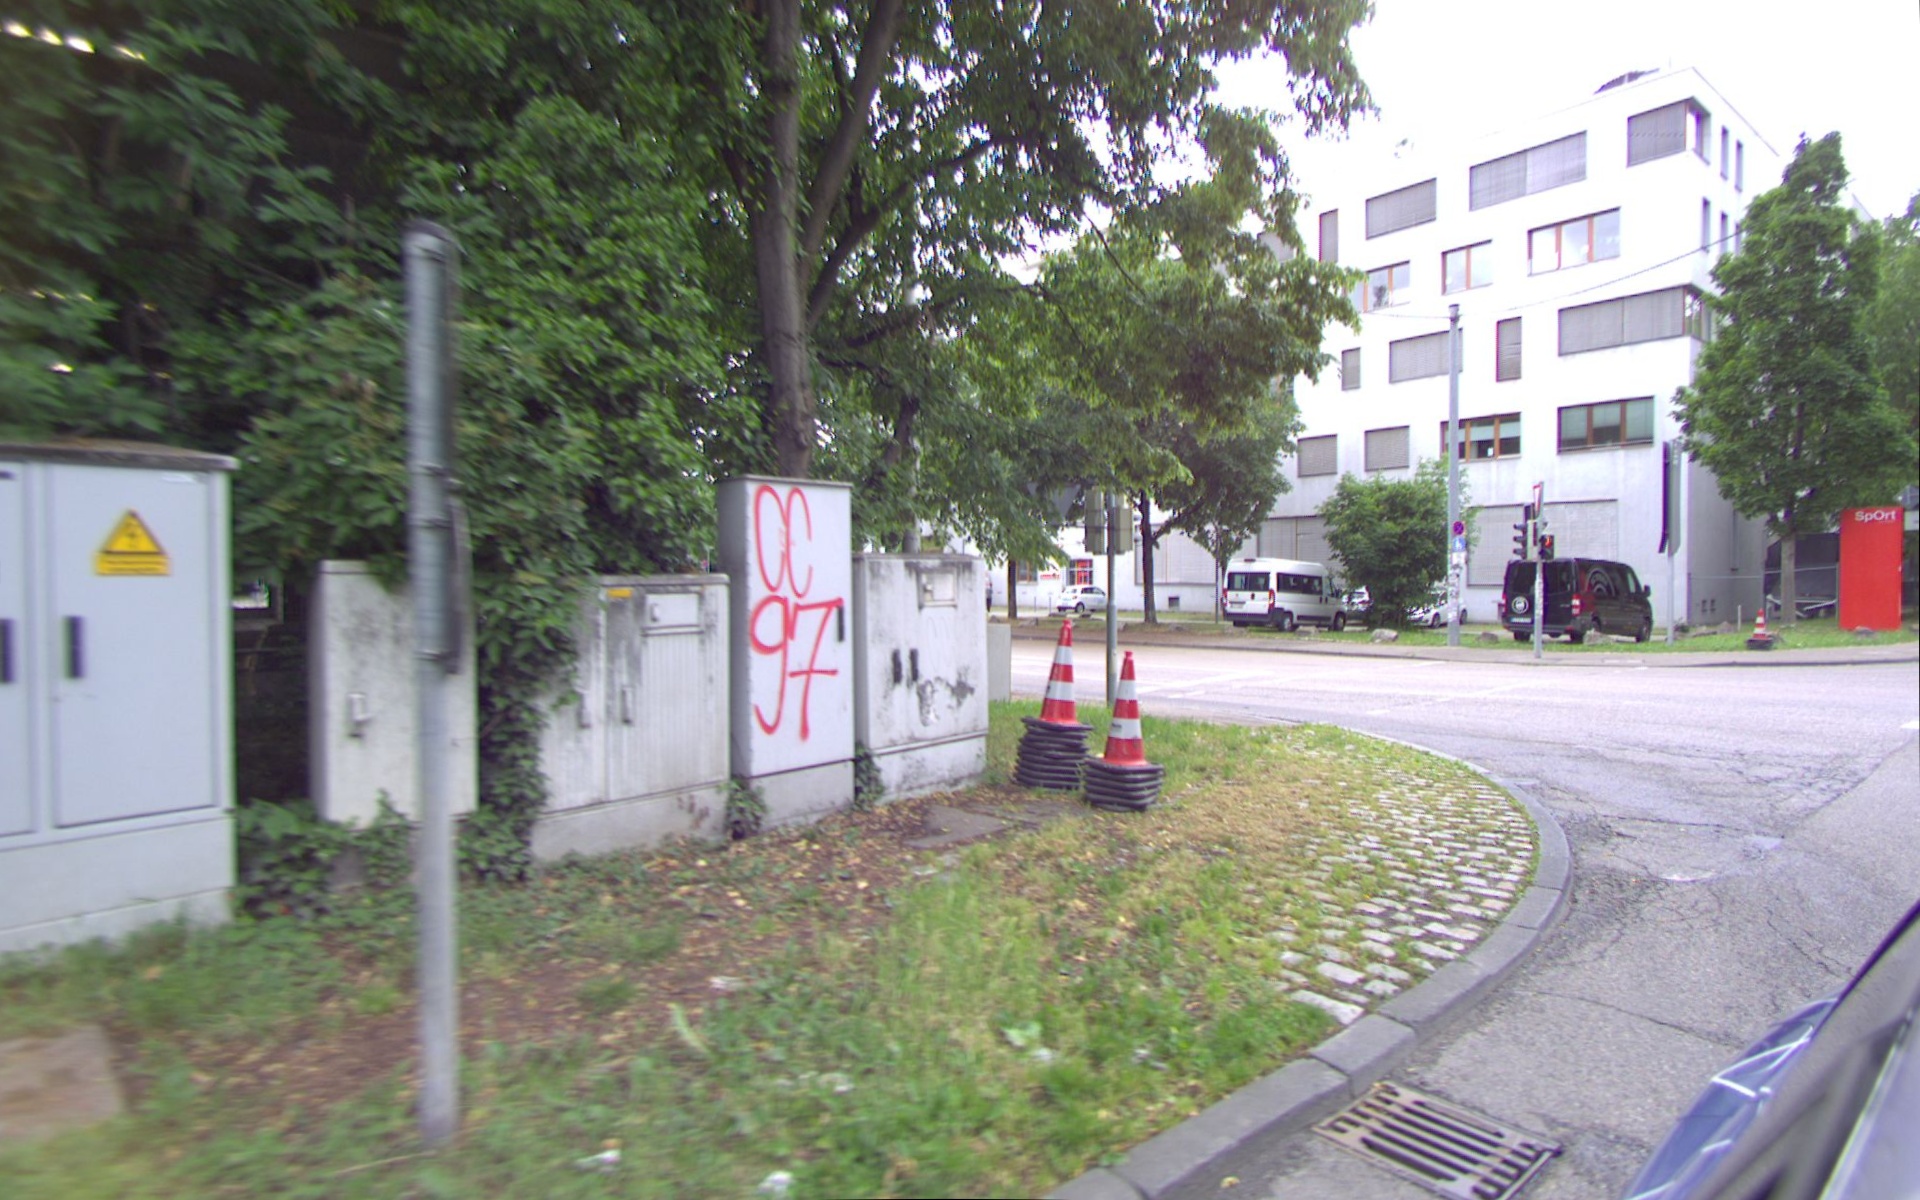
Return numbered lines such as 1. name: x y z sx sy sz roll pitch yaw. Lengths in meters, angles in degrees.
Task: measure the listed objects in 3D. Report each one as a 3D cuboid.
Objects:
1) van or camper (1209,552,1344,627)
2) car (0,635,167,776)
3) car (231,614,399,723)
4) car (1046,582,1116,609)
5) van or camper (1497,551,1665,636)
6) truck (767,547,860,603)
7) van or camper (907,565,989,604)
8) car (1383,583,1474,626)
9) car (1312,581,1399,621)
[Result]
1. van or camper: 11.182 -0.344 35.594 5.094 2.454 2.154 0 0 -40
2. car: -9.832 1.056 11.122 1.592 1.177 3.640 -1 0 -36
3. car: -8.124 0.765 12.637 1.510 1.101 3.252 -1 0 -37
4. car: 6.960 -0.292 58.028 3.939 1.436 1.713 -2 1 -38
5. van or camper: 17.238 -0.107 27.968 5.540 2.137 2.168 1 -1 -38
6. truck: -10.287 -1.650 70.305 2.602 3.662 7.828 1 0 -40
7. van or camper: -0.769 -1.053 67.778 5.176 2.456 2.255 -2 1 -40
8. car: 19.456 0.154 41.955 4.005 1.477 1.856 -4 2 -39
9. car: 17.314 0.034 44.208 4.011 1.548 1.841 -3 2 -40
